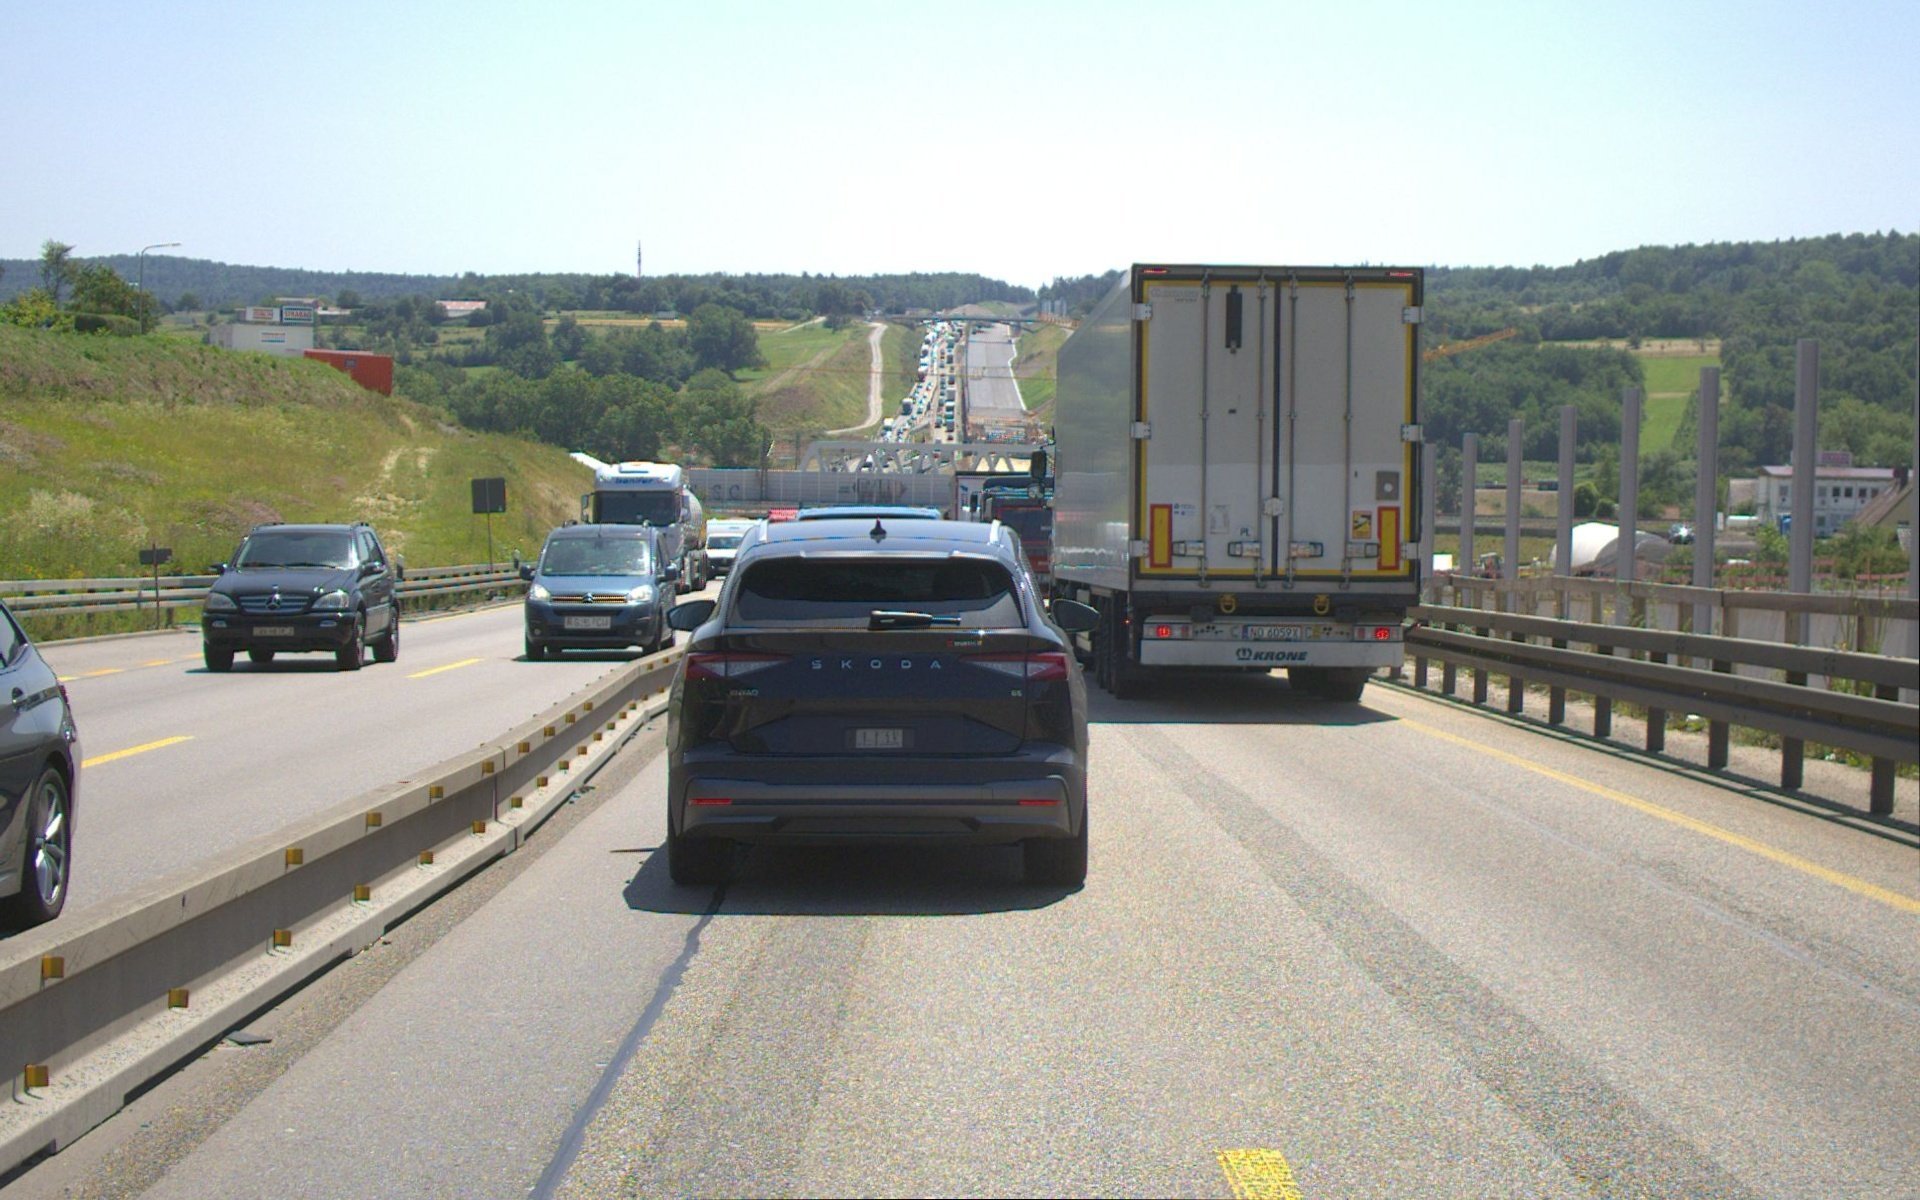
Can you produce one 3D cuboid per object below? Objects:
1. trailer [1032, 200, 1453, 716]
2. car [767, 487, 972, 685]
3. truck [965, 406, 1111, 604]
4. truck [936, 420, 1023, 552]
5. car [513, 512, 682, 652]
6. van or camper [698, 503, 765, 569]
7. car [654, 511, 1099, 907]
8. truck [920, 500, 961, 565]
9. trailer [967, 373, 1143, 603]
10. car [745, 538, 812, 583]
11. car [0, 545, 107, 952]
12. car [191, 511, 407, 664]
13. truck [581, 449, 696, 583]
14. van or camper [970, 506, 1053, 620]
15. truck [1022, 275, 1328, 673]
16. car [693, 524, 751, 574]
[{"bbox_3d":[2.617,-1.396,36.730,3.180,4.497,13.109,1,1,-1],"label":"trailer"},{"bbox_3d":[-0.927,-0.128,35.933,1.993,1.919,4.508,1,0,-1],"label":"car"},{"bbox_3d":[1.791,-2.167,82.606,3.180,4.498,8.165,1,0,-1],"label":"truck"},{"bbox_3d":[0.664,-4.140,128.091,2.852,4.450,11.918,1,0,-1],"label":"truck"},{"bbox_3d":[-4.792,-0.273,46.049,1.846,1.771,4.882,0,1,-1],"label":"car"},{"bbox_3d":[-9.489,-2.678,143.452,2.357,2.667,7.858,0,1,-1],"label":"van or camper"},{"bbox_3d":[-0.347,0.430,16.028,1.802,1.602,4.000,0,0,0],"label":"car"},{"bbox_3d":[-1.332,-4.494,231.605,2.639,4.179,9.284,1,0,-1],"label":"truck"},{"bbox_3d":[1.899,-2.202,75.535,3.180,4.498,14.967,1,0,-1],"label":"trailer"},{"bbox_3d":[-5.777,-1.281,109.981,1.895,1.409,4.679,0,1,0],"label":"car"},{"bbox_3d":[-4.346,0.551,11.808,1.798,1.461,4.356,-1,1,-1],"label":"car"},{"bbox_3d":[-7.991,-0.181,41.953,1.828,1.760,4.497,0,1,-1],"label":"car"},{"bbox_3d":[-9.069,-2.368,97.639,2.779,3.660,6.278,1,1,-1],"label":"truck"},{"bbox_3d":[1.561,-1.058,102.416,2.389,3.269,6.468,0,0,1],"label":"van or camper"},{"bbox_3d":[2.519,-1.522,43.241,3.180,4.497,8.166,1,1,-1],"label":"truck"},{"bbox_3d":[-9.458,-2.042,136.858,1.993,1.964,5.343,0,1,-1],"label":"car"}]
